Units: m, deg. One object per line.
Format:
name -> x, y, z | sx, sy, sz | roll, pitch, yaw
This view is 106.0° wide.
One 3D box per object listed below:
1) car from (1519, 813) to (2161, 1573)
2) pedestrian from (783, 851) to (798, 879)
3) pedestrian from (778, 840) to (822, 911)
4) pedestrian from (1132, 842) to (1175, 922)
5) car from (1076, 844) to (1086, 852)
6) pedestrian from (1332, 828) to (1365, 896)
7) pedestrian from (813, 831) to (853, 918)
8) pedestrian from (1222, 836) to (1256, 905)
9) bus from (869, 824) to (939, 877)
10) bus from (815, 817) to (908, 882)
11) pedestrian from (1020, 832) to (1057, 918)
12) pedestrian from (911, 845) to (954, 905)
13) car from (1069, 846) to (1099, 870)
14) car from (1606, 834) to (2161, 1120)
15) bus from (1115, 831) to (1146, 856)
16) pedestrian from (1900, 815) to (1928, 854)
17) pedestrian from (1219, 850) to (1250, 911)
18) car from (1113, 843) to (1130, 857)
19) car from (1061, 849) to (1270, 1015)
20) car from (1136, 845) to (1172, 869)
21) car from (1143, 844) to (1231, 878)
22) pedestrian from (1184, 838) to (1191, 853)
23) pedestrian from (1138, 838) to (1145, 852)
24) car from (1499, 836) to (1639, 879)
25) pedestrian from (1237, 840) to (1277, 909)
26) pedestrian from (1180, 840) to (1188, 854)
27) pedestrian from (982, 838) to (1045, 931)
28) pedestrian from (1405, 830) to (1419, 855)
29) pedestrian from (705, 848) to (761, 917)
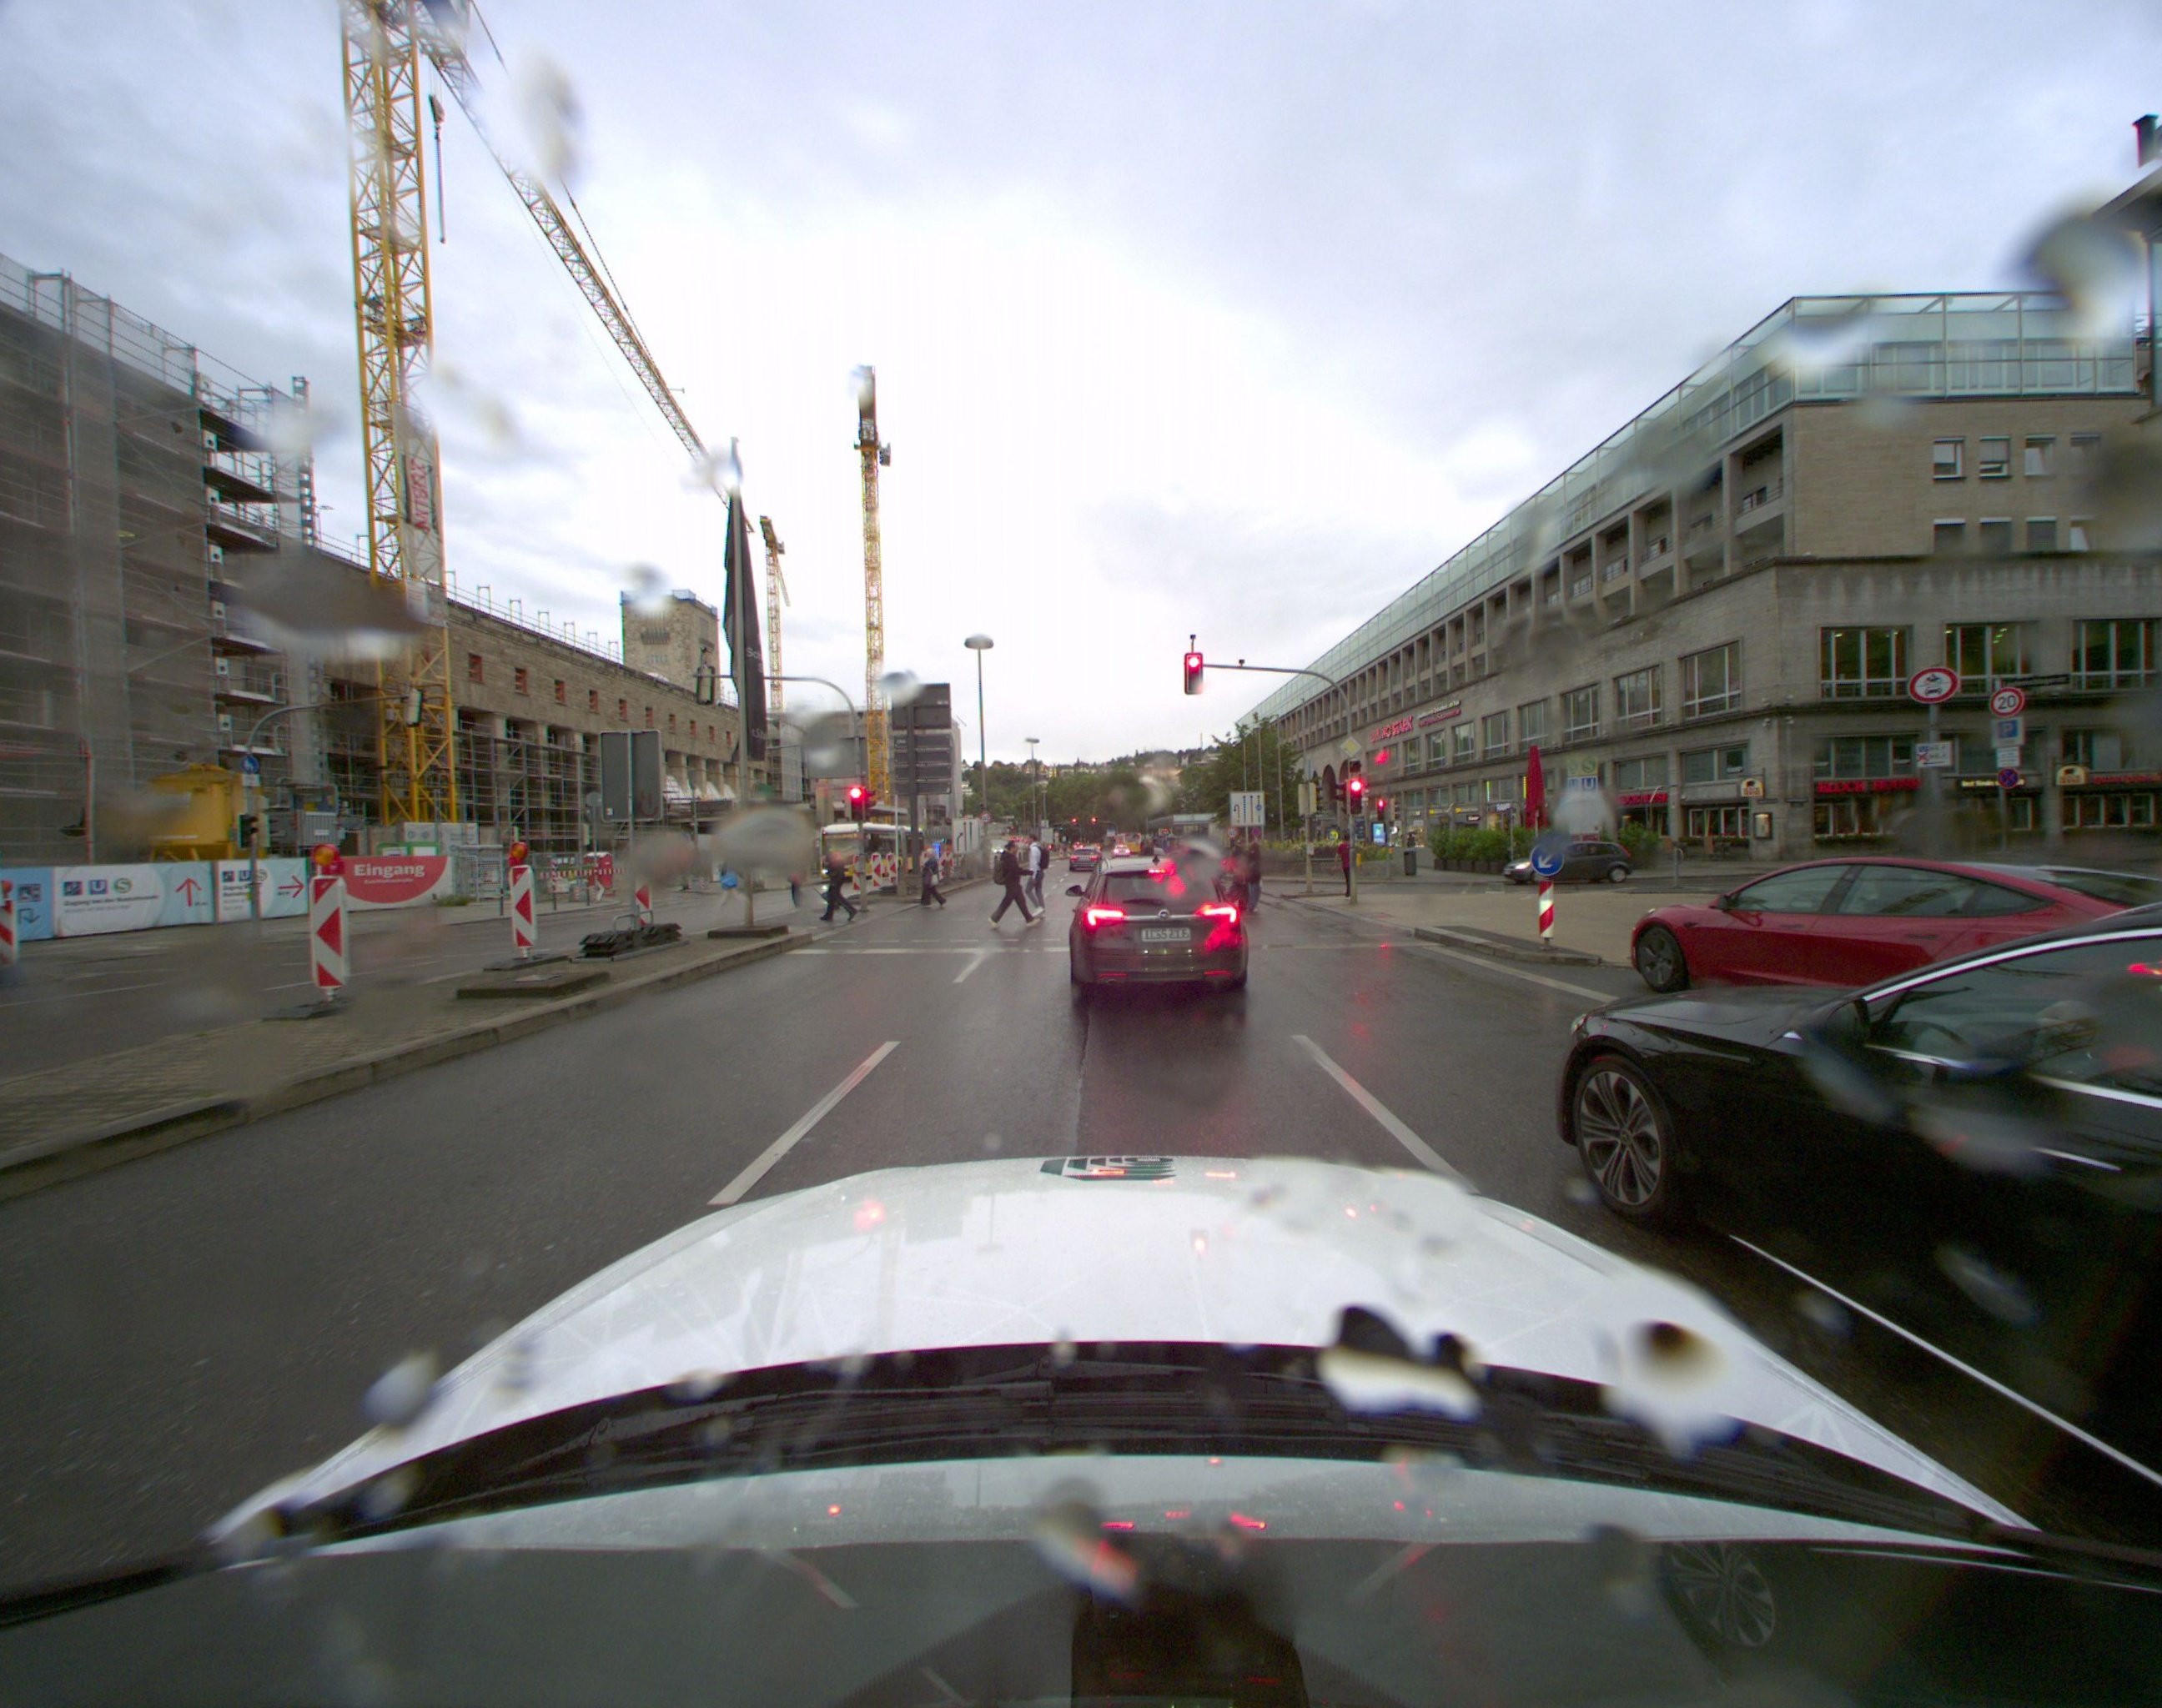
car -> 3.032, 0.666, 1.771 | 1.787, 1.501, 4.630 | 0, 0, 2
pedestrian -> -19.520, 0.728, 54.695 | 0.659, 1.855, 0.799 | -2, 0, 2
pedestrian -> -7.048, 0.525, 20.450 | 0.797, 1.717, 0.619 | -3, 0, -2
pedestrian -> 1.505, 0.571, 17.117 | 0.791, 1.626, 0.899 | 0, 0, -2
car -> 0.046, -1.078, 151.853 | 1.752, 1.398, 3.565 | 0, 0, 2
pedestrian -> 7.131, 0.209, 21.715 | 0.563, 1.752, 0.684 | -1, -1, 44
pedestrian -> -5.375, 0.429, 17.683 | 0.576, 1.836, 0.820 | 0, 0, 2
pedestrian -> 3.975, 0.406, 20.545 | 0.753, 1.717, 0.466 | 0, 0, -2
bus -> -12.982, -0.248, 60.622 | 2.658, 3.602, 10.216 | 0, 0, 2
bus -> -13.309, -0.264, 50.437 | 2.658, 3.602, 10.243 | 0, 0, 2
pedestrian -> -0.961, 0.459, 18.313 | 0.798, 1.890, 0.618 | 0, 0, -7
pedestrian -> -3.950, 0.541, 21.610 | 0.879, 1.561, 0.778 | 0, 0, -35
car -> 0.210, 0.244, 50.941 | 1.747, 1.398, 4.538 | 0, 0, 0
car -> 6.531, 0.637, 6.491 | 1.868, 1.486, 4.528 | 0, 0, 1
bus -> 7.333, -1.516, 122.527 | 4.158, 3.469, 14.660 | 0, 0, 2
pedestrian -> 33.013, -0.762, 32.288 | 0.750, 1.512, 0.721 | -1, -1, 43
pedestrian -> 3.770, 0.653, 19.987 | 0.677, 1.474, 0.366 | 0, 0, -3
car -> 4.381, -0.415, 88.212 | 1.838, 1.398, 3.565 | 0, 0, 2
car -> 0.811, 0.705, 9.333 | 1.868, 1.486, 4.001 | 0, 0, 1
car -> 4.531, 0.179, 50.965 | 1.748, 1.398, 4.399 | 0, 0, -1
car -> 4.651, 0.303, 36.427 | 1.761, 1.398, 4.611 | 0, 0, -24
pedestrian -> 12.492, -0.996, 95.532 | 0.761, 1.690, 0.824 | 0, 0, -3
pedestrian -> 10.838, -1.542, 145.666 | 1.194, 2.435, 1.229 | 0, 0, 3
car -> 16.511, 0.135, 27.709 | 3.636, 1.398, 1.855 | 0, 0, 5
pedestrian -> 4.174, 0.489, 19.367 | 0.797, 1.608, 0.619 | 0, 0, -2
pedestrian -> 12.259, -0.815, 96.895 | 0.761, 1.690, 0.824 | 0, 0, -3
pedestrian -> -1.327, 0.589, 16.116 | 1.093, 1.751, 0.653 | -3, 0, -1
pedestrian -> 26.704, -0.929, 65.686 | 0.760, 2.014, 0.825 | 0, 0, 2
pedestrian -> -8.066, 0.651, 18.922 | 0.912, 1.563, 0.899 | 0, 0, -2
